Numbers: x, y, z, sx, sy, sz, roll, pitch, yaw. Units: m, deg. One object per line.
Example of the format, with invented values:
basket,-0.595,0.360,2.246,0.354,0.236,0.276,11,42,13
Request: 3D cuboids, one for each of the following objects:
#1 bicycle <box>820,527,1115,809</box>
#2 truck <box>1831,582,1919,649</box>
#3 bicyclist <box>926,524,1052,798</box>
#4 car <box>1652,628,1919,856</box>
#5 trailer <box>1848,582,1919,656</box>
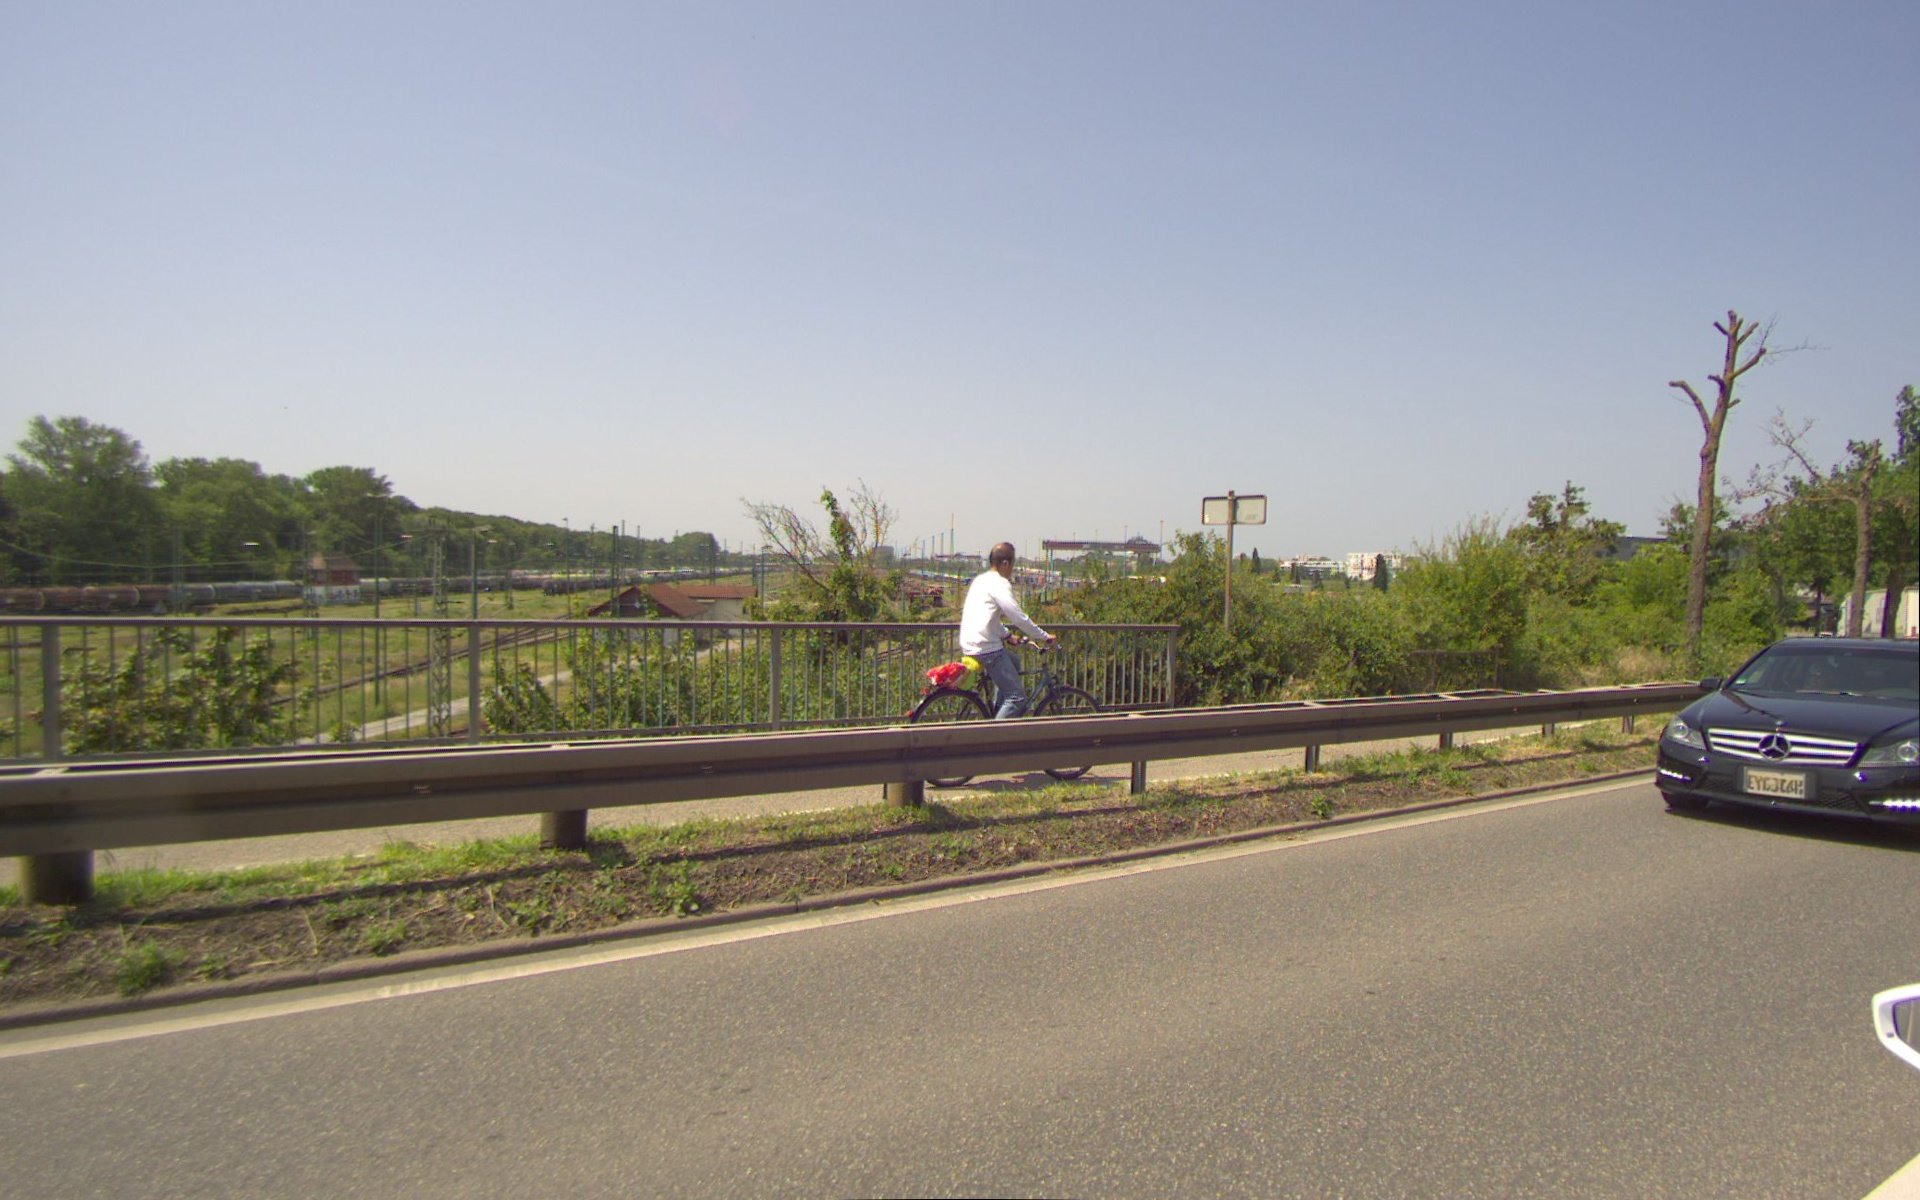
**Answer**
bicycle,0.099,0.432,7.385,2.157,1.826,0.694,0,1,-33
truck,65.248,1.016,71.664,3.521,4.500,6.500,1,1,31
bicyclist,0.211,0.423,7.457,0.705,1.911,0.620,0,1,-33
car,7.551,0.985,8.368,4.089,1.462,1.665,1,-1,-36
trailer,61.257,1.106,65.136,3.519,4.443,11.412,1,1,32
